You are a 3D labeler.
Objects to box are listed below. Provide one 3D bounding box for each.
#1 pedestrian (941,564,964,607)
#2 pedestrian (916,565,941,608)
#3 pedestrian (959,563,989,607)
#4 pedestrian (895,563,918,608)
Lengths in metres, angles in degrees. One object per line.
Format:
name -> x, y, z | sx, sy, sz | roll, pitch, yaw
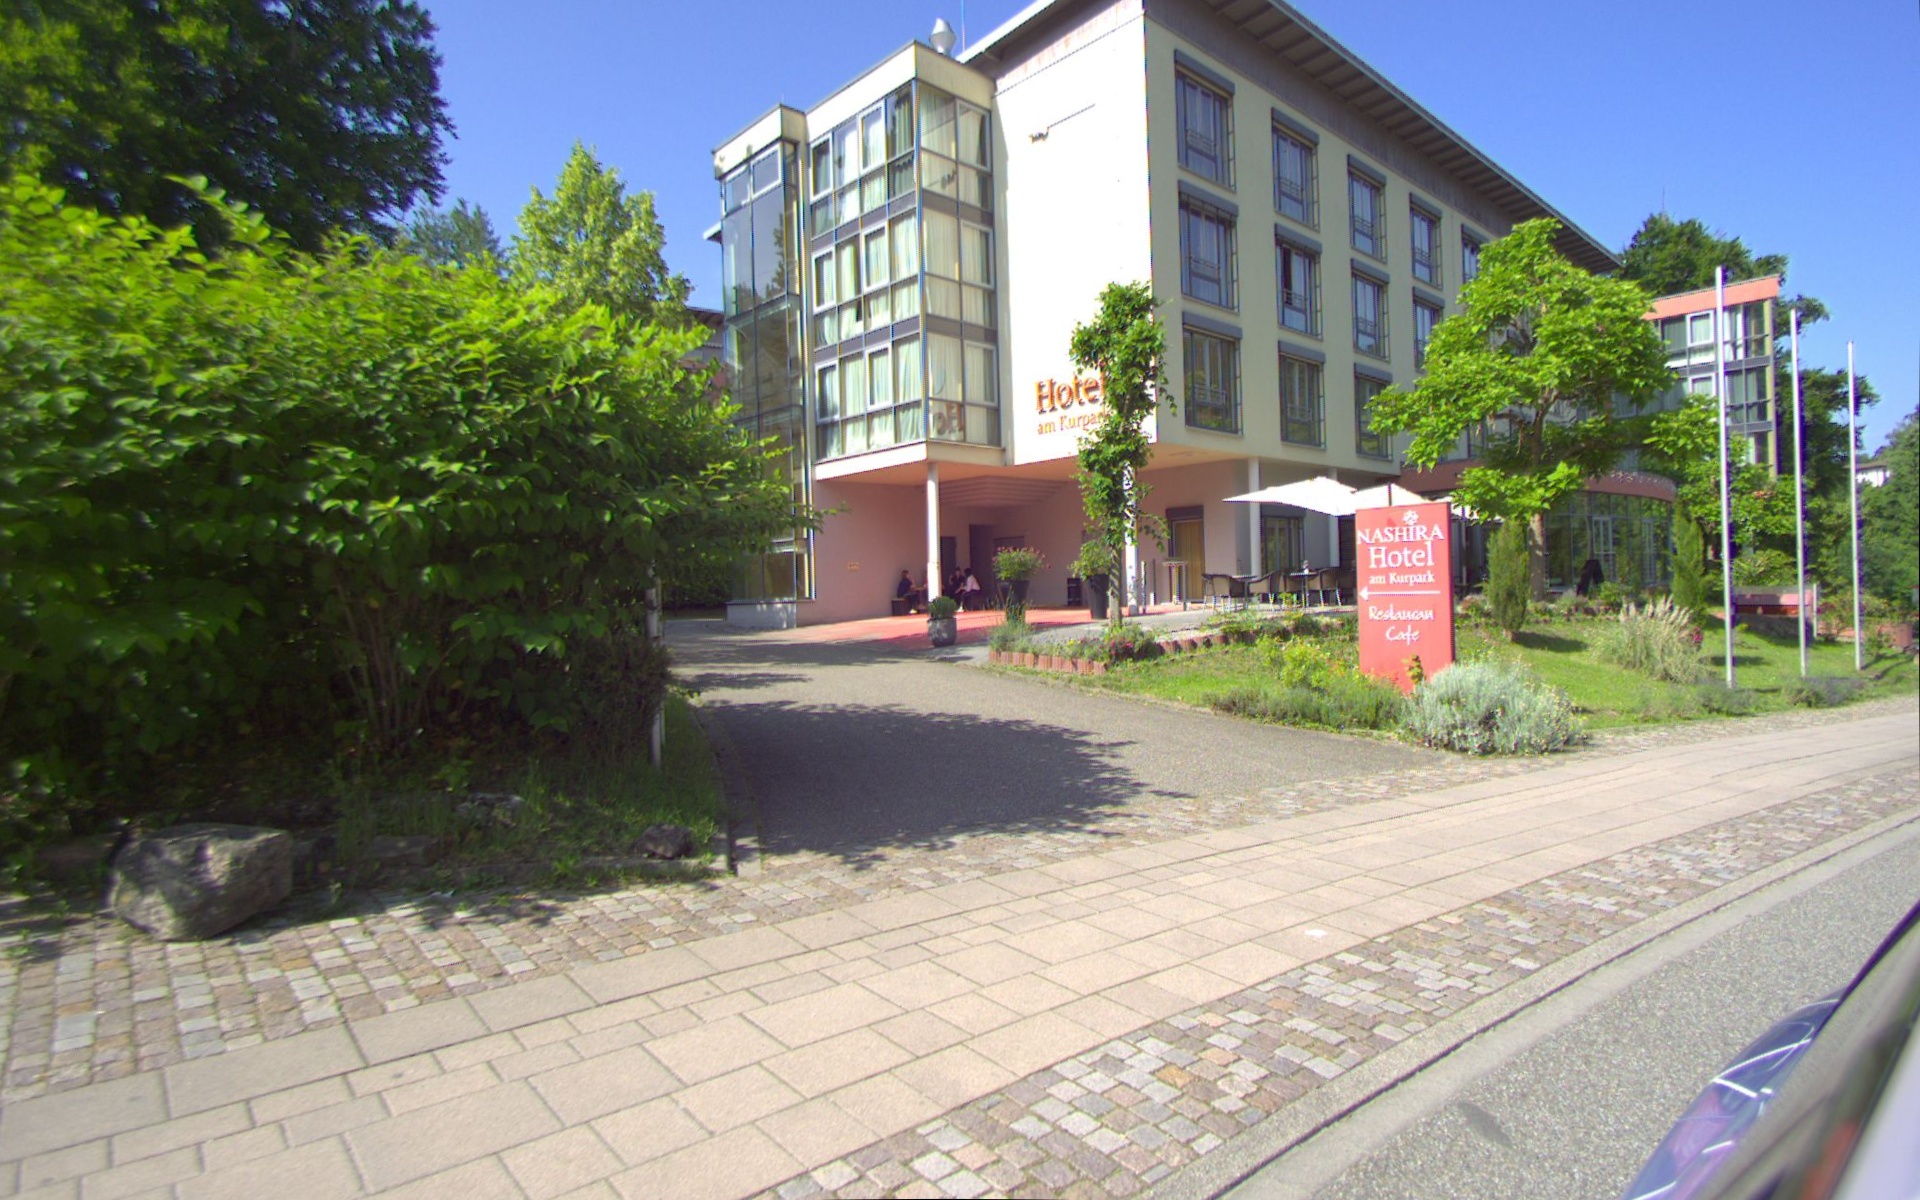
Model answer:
pedestrian -> -0.211, -0.427, 29.271 | 0.600, 1.231, 0.620 | 0, 0, 9
pedestrian -> -0.906, -0.384, 28.892 | 0.519, 1.231, 0.522 | 0, 0, 33
pedestrian -> 0.383, -0.423, 28.409 | 0.617, 1.231, 0.603 | 0, 0, 35
pedestrian -> -1.476, -0.410, 28.121 | 0.609, 1.231, 0.611 | 0, 0, -1
